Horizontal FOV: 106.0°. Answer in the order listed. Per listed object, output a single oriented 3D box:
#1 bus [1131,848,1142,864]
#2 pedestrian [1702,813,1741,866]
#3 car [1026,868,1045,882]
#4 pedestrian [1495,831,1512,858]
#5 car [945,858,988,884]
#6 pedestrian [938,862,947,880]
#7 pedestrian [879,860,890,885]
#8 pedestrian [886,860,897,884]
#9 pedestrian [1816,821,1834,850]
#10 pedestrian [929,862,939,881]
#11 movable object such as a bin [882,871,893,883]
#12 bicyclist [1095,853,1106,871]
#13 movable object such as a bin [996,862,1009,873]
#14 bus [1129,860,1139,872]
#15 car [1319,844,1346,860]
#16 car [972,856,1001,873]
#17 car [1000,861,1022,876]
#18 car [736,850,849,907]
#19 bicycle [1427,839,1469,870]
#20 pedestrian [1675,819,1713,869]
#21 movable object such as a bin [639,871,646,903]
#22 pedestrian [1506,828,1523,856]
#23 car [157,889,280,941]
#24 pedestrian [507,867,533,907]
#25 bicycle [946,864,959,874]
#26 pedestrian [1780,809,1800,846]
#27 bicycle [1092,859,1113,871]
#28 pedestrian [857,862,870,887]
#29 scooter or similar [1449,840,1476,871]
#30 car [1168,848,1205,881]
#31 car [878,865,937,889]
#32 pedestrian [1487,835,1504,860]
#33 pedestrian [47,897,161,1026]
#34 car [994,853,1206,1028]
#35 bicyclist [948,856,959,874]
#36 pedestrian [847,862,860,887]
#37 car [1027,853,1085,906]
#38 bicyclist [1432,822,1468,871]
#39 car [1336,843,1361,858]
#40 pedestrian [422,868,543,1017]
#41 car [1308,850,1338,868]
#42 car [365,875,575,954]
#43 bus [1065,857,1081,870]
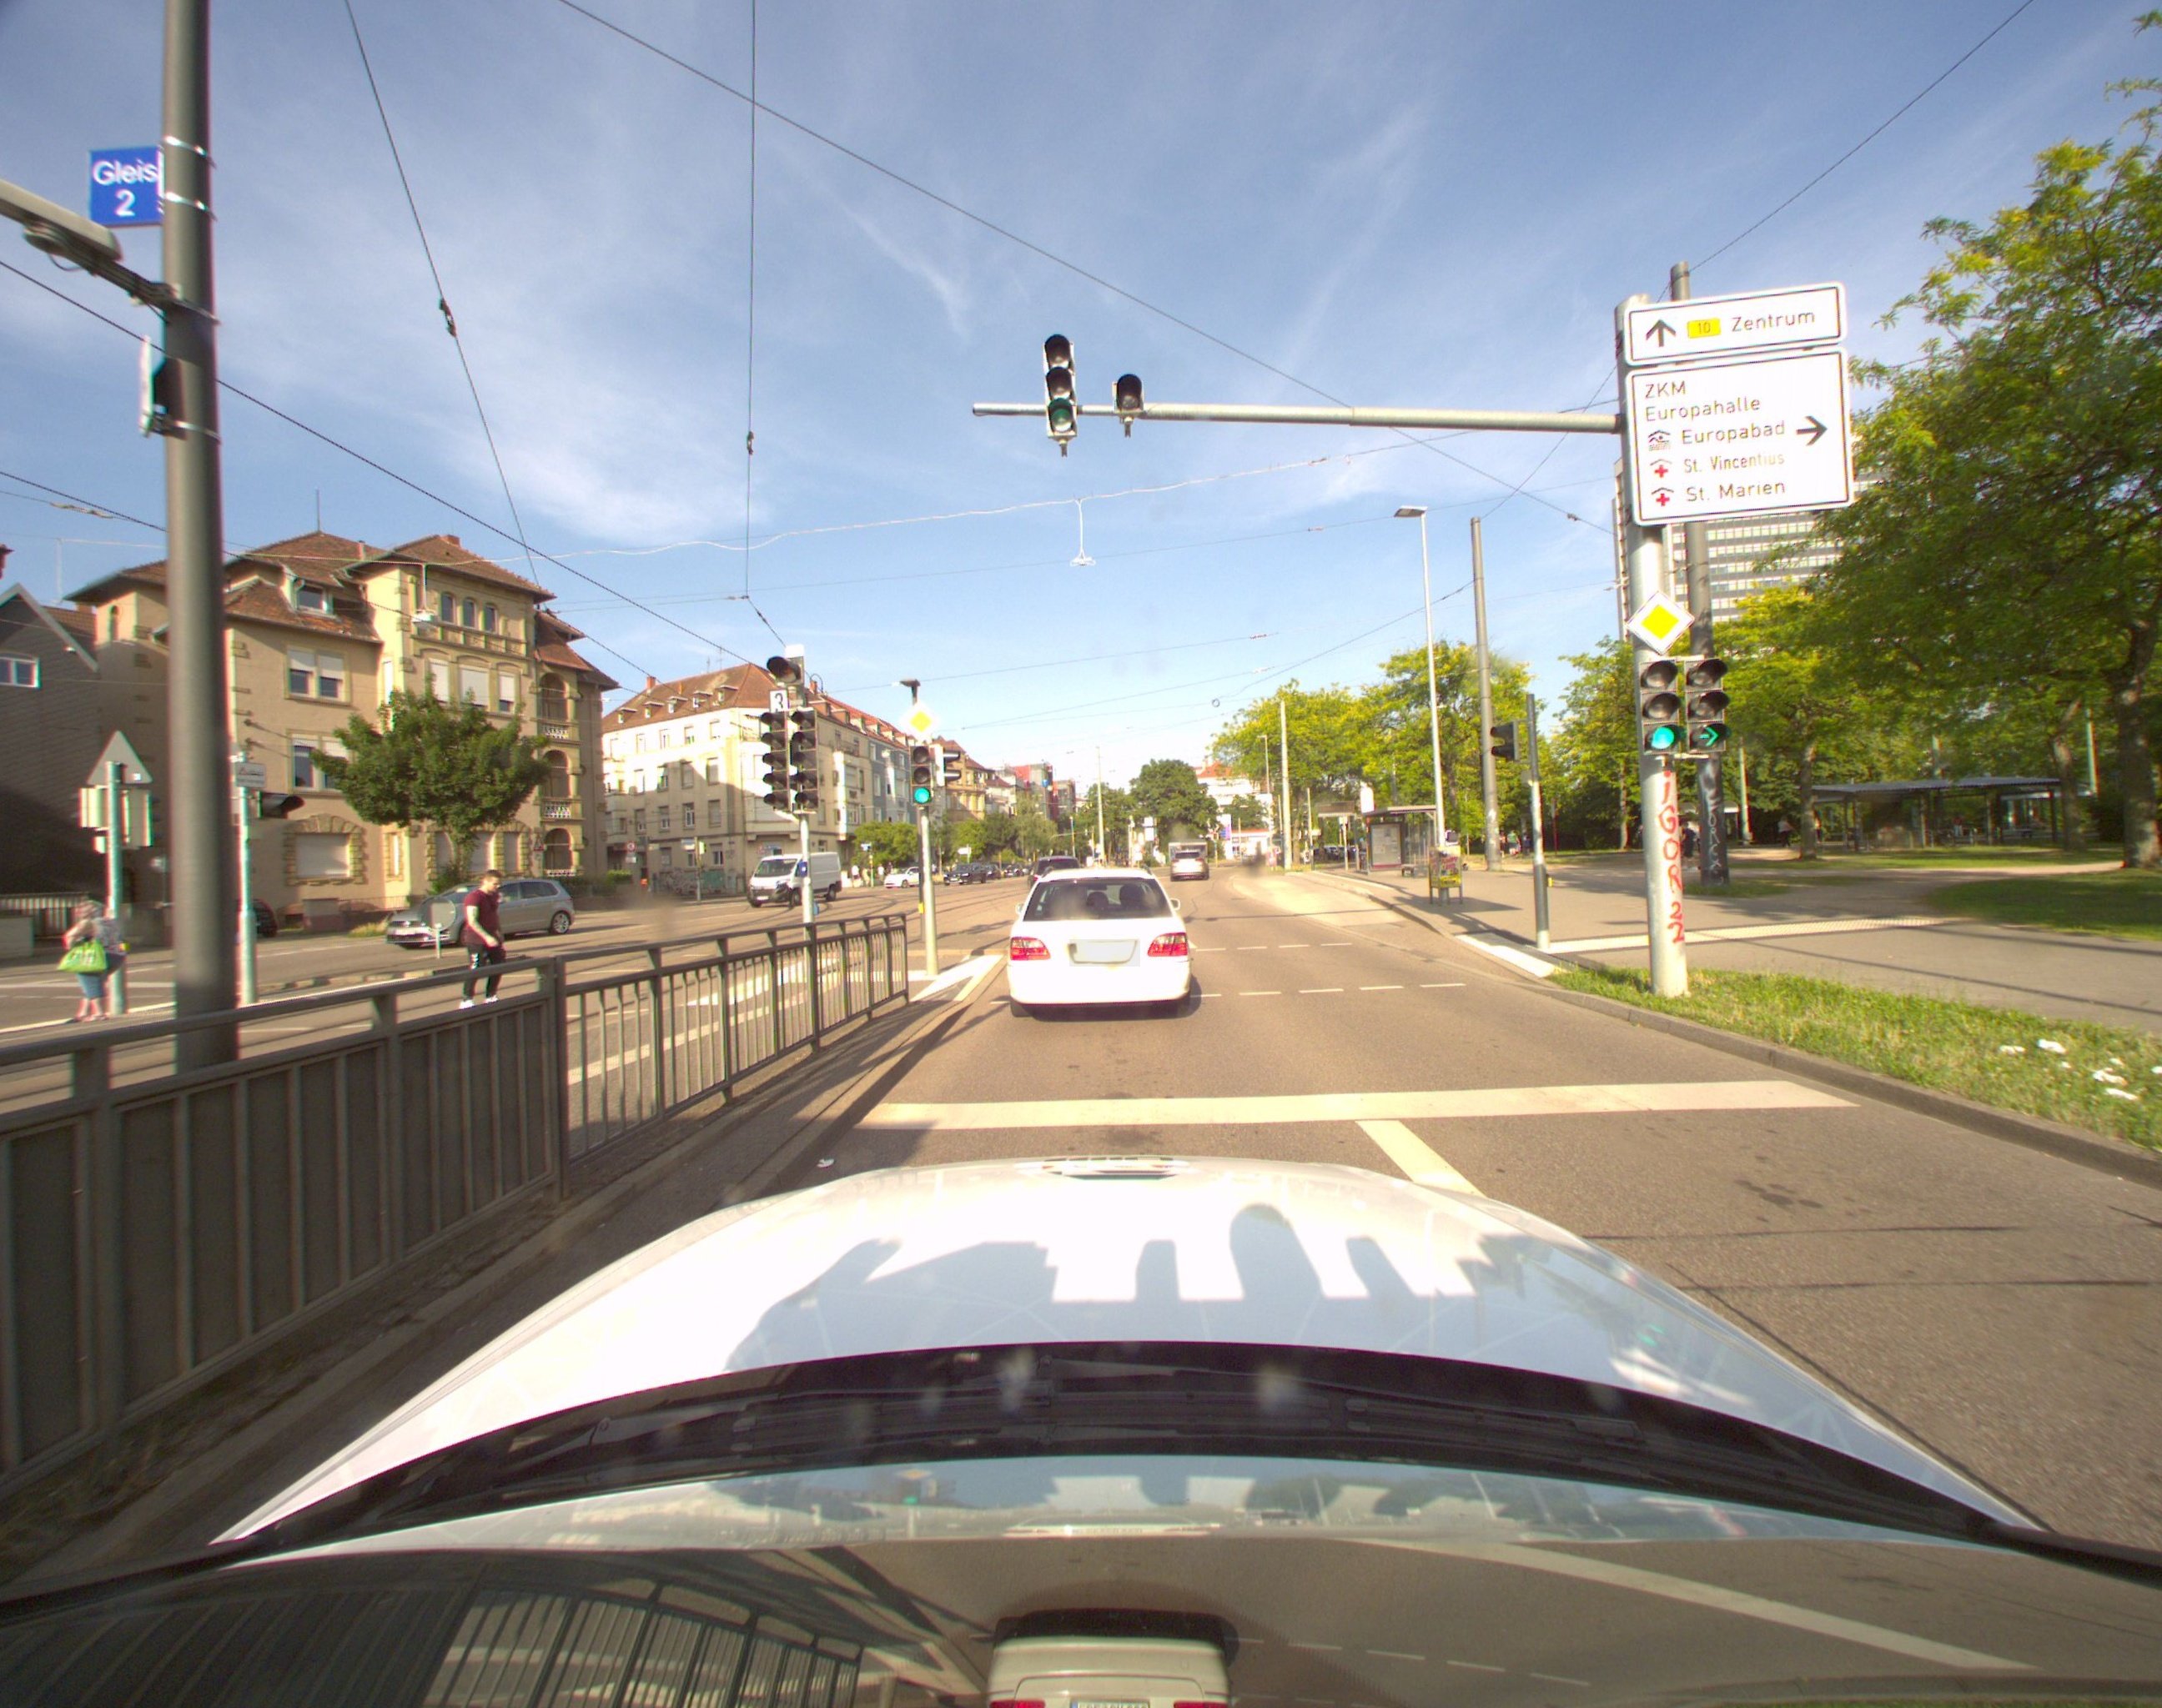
[{"bbox_3d":[9.050,0.293,133.864,1.790,2.555,4.003,0,-1,3],"label":"bus"},{"bbox_3d":[23.341,-0.517,29.680,0.674,1.897,0.872,0,-1,-26],"label":"pedestrian"},{"bbox_3d":[-5.562,2.572,100.765,1.681,1.441,4.006,-3,0,5],"label":"car"},{"bbox_3d":[26.648,-0.565,51.372,0.638,1.665,0.691,-3,-1,1],"label":"pedestrian"},{"bbox_3d":[-7.982,1.168,57.160,1.757,1.494,4.754,-3,1,7],"label":"car"},{"bbox_3d":[-13.325,1.618,78.411,0.635,1.751,0.912,-3,-1,5],"label":"pedestrian"},{"bbox_3d":[-15.472,1.438,64.022,0.581,1.881,0.627,-3,-1,5],"label":"pedestrian"},{"bbox_3d":[-14.866,1.420,63.932,0.581,1.881,0.628,-3,-1,7],"label":"pedestrian"},{"bbox_3d":[47.567,-1.174,52.070,0.666,1.800,0.613,-1,-1,15],"label":"pedestrian"},{"bbox_3d":[-14.174,1.699,78.526,0.635,1.751,0.912,-3,-1,5],"label":"pedestrian"},{"bbox_3d":[-15.358,1.844,64.753,0.579,0.947,0.665,-3,-1,11],"label":"movable object such as a bin"},{"bbox_3d":[1.893,0.753,78.318,0.896,1.699,0.733,-4,-1,2],"label":"bicyclist"},{"bbox_3d":[-10.572,1.810,109.945,1.601,1.421,1.082,-3,-1,-6],"label":"movable object such as a bin"},{"bbox_3d":[9.665,2.209,149.447,1.790,2.333,4.002,0,-1,3],"label":"bus"},{"bbox_3d":[26.867,-0.241,86.923,1.836,1.515,4.025,-4,-1,30],"label":"car"},{"bbox_3d":[-8.568,0.900,74.121,1.759,1.433,4.004,-3,0,4],"label":"car"},{"bbox_3d":[-7.409,1.542,86.273,1.626,1.433,3.634,-3,0,5],"label":"car"},{"bbox_3d":[-12.487,0.983,35.663,2.163,2.239,5.269,-3,0,11],"label":"car"},{"bbox_3d":[13.715,0.028,30.527,0.638,1.088,1.940,-5,-1,1],"label":"bicycle"},{"bbox_3d":[22.268,-0.350,29.584,0.673,1.777,0.874,0,-1,-18],"label":"pedestrian"},{"bbox_3d":[-24.195,1.821,44.899,0.265,1.709,2.360,-2,-1,-29],"label":"movable object such as a bin"},{"bbox_3d":[26.889,-0.729,50.511,0.638,1.665,0.691,-3,-1,1],"label":"pedestrian"},{"bbox_3d":[-30.145,2.125,28.446,3.950,1.632,1.787,-3,0,26],"label":"car"},{"bbox_3d":[-23.543,1.373,34.179,0.672,1.651,0.608,-3,-1,28],"label":"pedestrian"},{"bbox_3d":[-12.314,1.431,78.185,0.766,0.965,2.036,-3,0,3],"label":"bicycle"},{"bbox_3d":[36.536,-1.337,41.973,0.462,1.868,0.601,0,-2,-24],"label":"pedestrian"},{"bbox_3d":[2.066,1.100,78.313,1.907,0.994,0.727,-4,-1,1],"label":"bicycle"},{"bbox_3d":[-16.363,1.557,61.246,0.670,1.848,0.651,-3,-1,9],"label":"pedestrian"},{"bbox_3d":[15.670,0.065,33.446,0.351,1.232,1.131,-2,-1,-13],"label":"scooter or similar"},{"bbox_3d":[5.556,0.542,43.162,1.826,1.600,3.821,-1,-1,6],"label":"car"},{"bbox_3d":[-12.452,1.628,58.666,1.777,1.457,4.026,-3,0,31],"label":"car"},{"bbox_3d":[26.547,-0.420,52.181,0.638,1.610,0.691,-3,-1,1],"label":"pedestrian"},{"bbox_3d":[-12.877,1.393,10.756,0.588,1.589,0.715,-3,-1,-2],"label":"pedestrian"},{"bbox_3d":[0.193,0.769,9.029,1.829,1.501,3.815,-1,-1,1],"label":"car"},{"bbox_3d":[-12.319,1.047,78.548,0.757,1.668,1.168,-3,0,2],"label":"bicyclist"},{"bbox_3d":[-17.147,1.555,61.501,0.654,1.881,0.628,-3,-1,11],"label":"pedestrian"},{"bbox_3d":[-0.761,0.802,26.779,1.635,1.600,3.816,-1,-1,1],"label":"car"},{"bbox_3d":[13.676,-0.263,30.224,0.647,1.745,1.140,-6,-1,0],"label":"bicyclist"},{"bbox_3d":[31.346,-0.399,95.349,1.836,1.515,4.025,-4,-1,30],"label":"car"},{"bbox_3d":[-7.111,1.022,9.704,0.876,1.670,0.672,-3,-1,3],"label":"pedestrian"},{"bbox_3d":[24.155,0.480,81.244,1.835,1.515,4.026,-4,-1,31],"label":"car"},{"bbox_3d":[-14.876,1.409,20.156,1.667,1.526,4.133,-3,1,7],"label":"car"},{"bbox_3d":[-1.083,1.212,109.971,1.837,1.636,4.160,-3,0,2],"label":"bus"}]
